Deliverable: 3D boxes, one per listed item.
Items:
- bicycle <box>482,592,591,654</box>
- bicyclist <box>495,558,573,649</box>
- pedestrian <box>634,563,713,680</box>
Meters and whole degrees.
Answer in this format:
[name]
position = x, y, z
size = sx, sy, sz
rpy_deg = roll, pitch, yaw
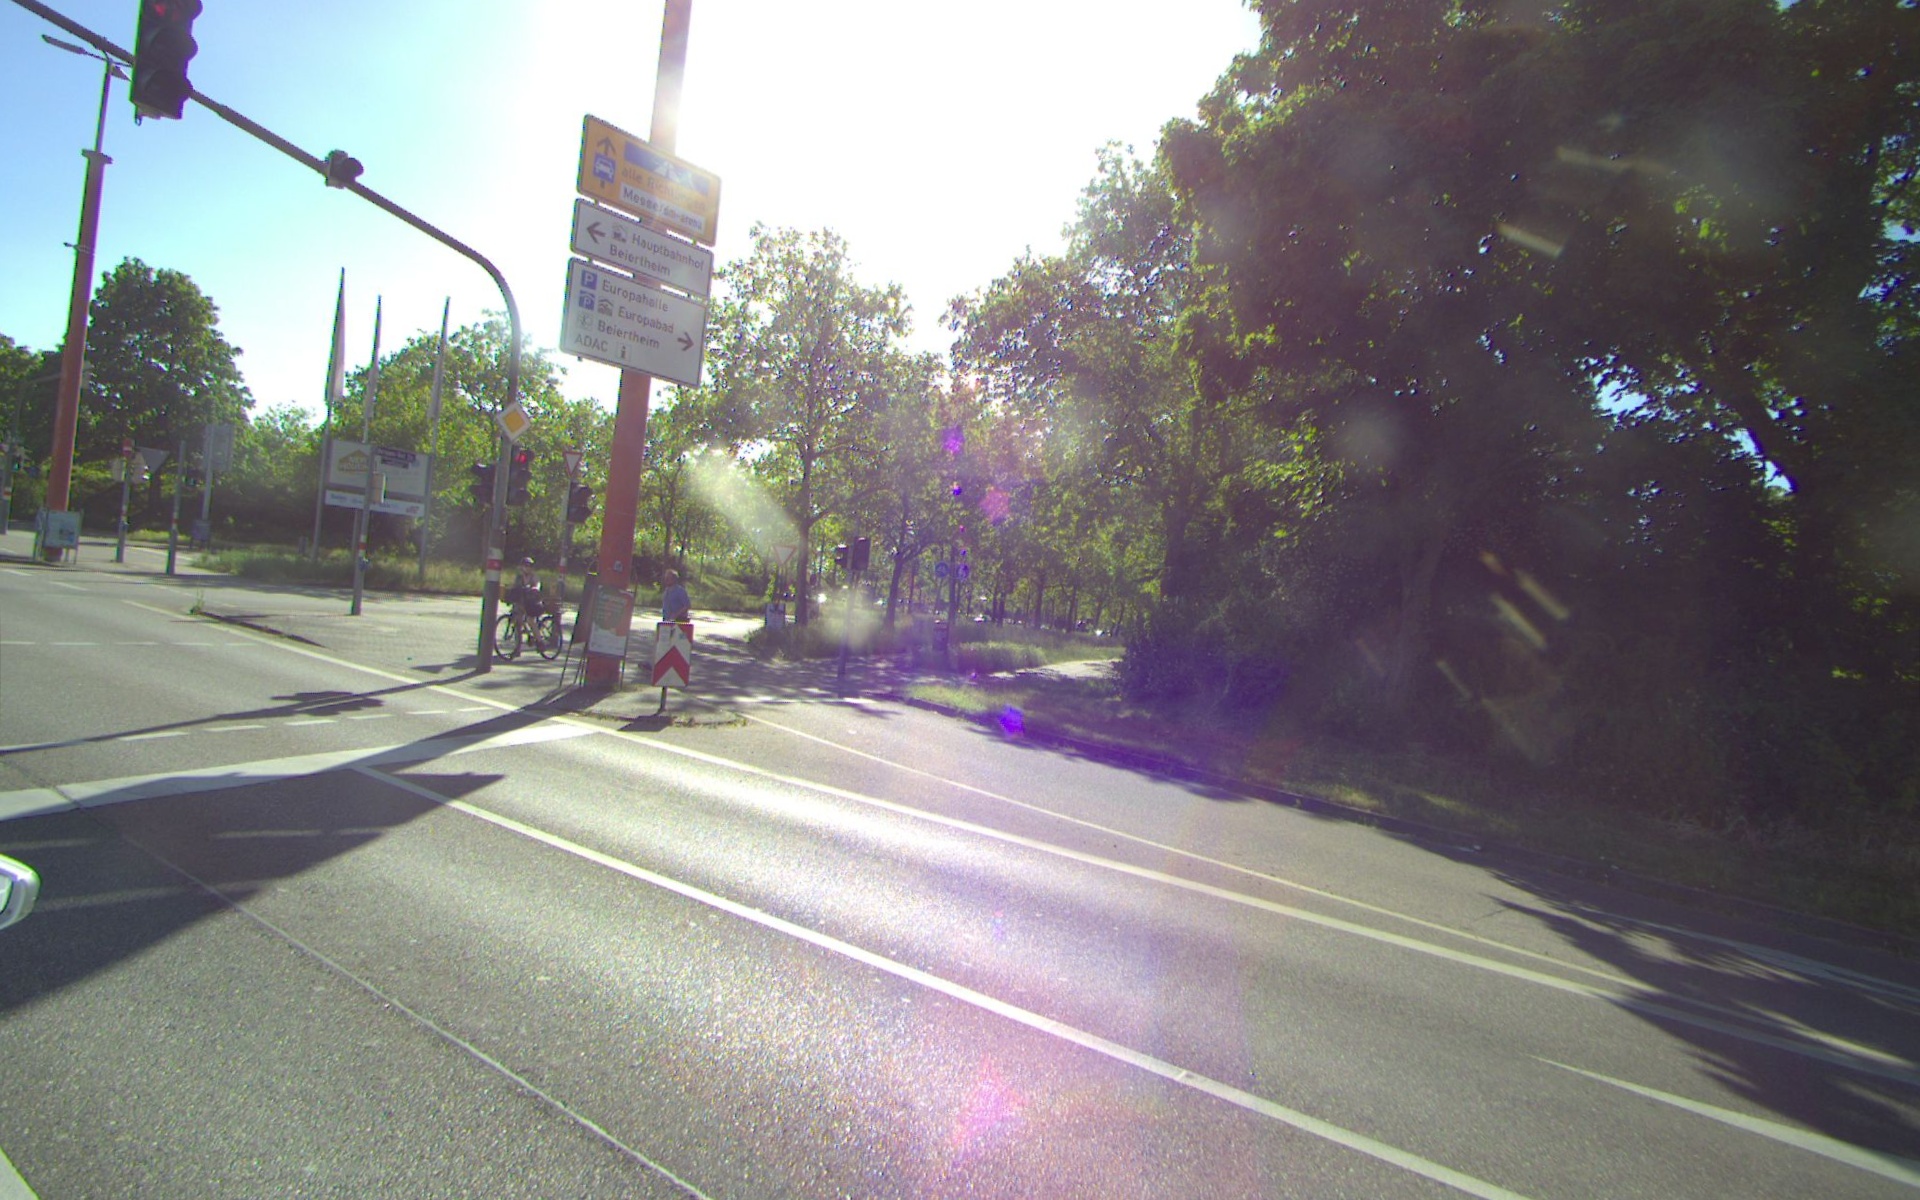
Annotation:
[bicycle]
position = -6.830, 0.380, 16.356
size = 0.549, 0.889, 2.170
rpy_deg = 7, -1, 7
[bicyclist]
position = -6.841, 0.070, 16.167
size = 0.695, 1.358, 0.742
rpy_deg = 7, 0, 21
[pedestrian]
position = -4.811, 0.363, 16.965
size = 0.884, 1.810, 0.894
rpy_deg = 7, 0, -3
